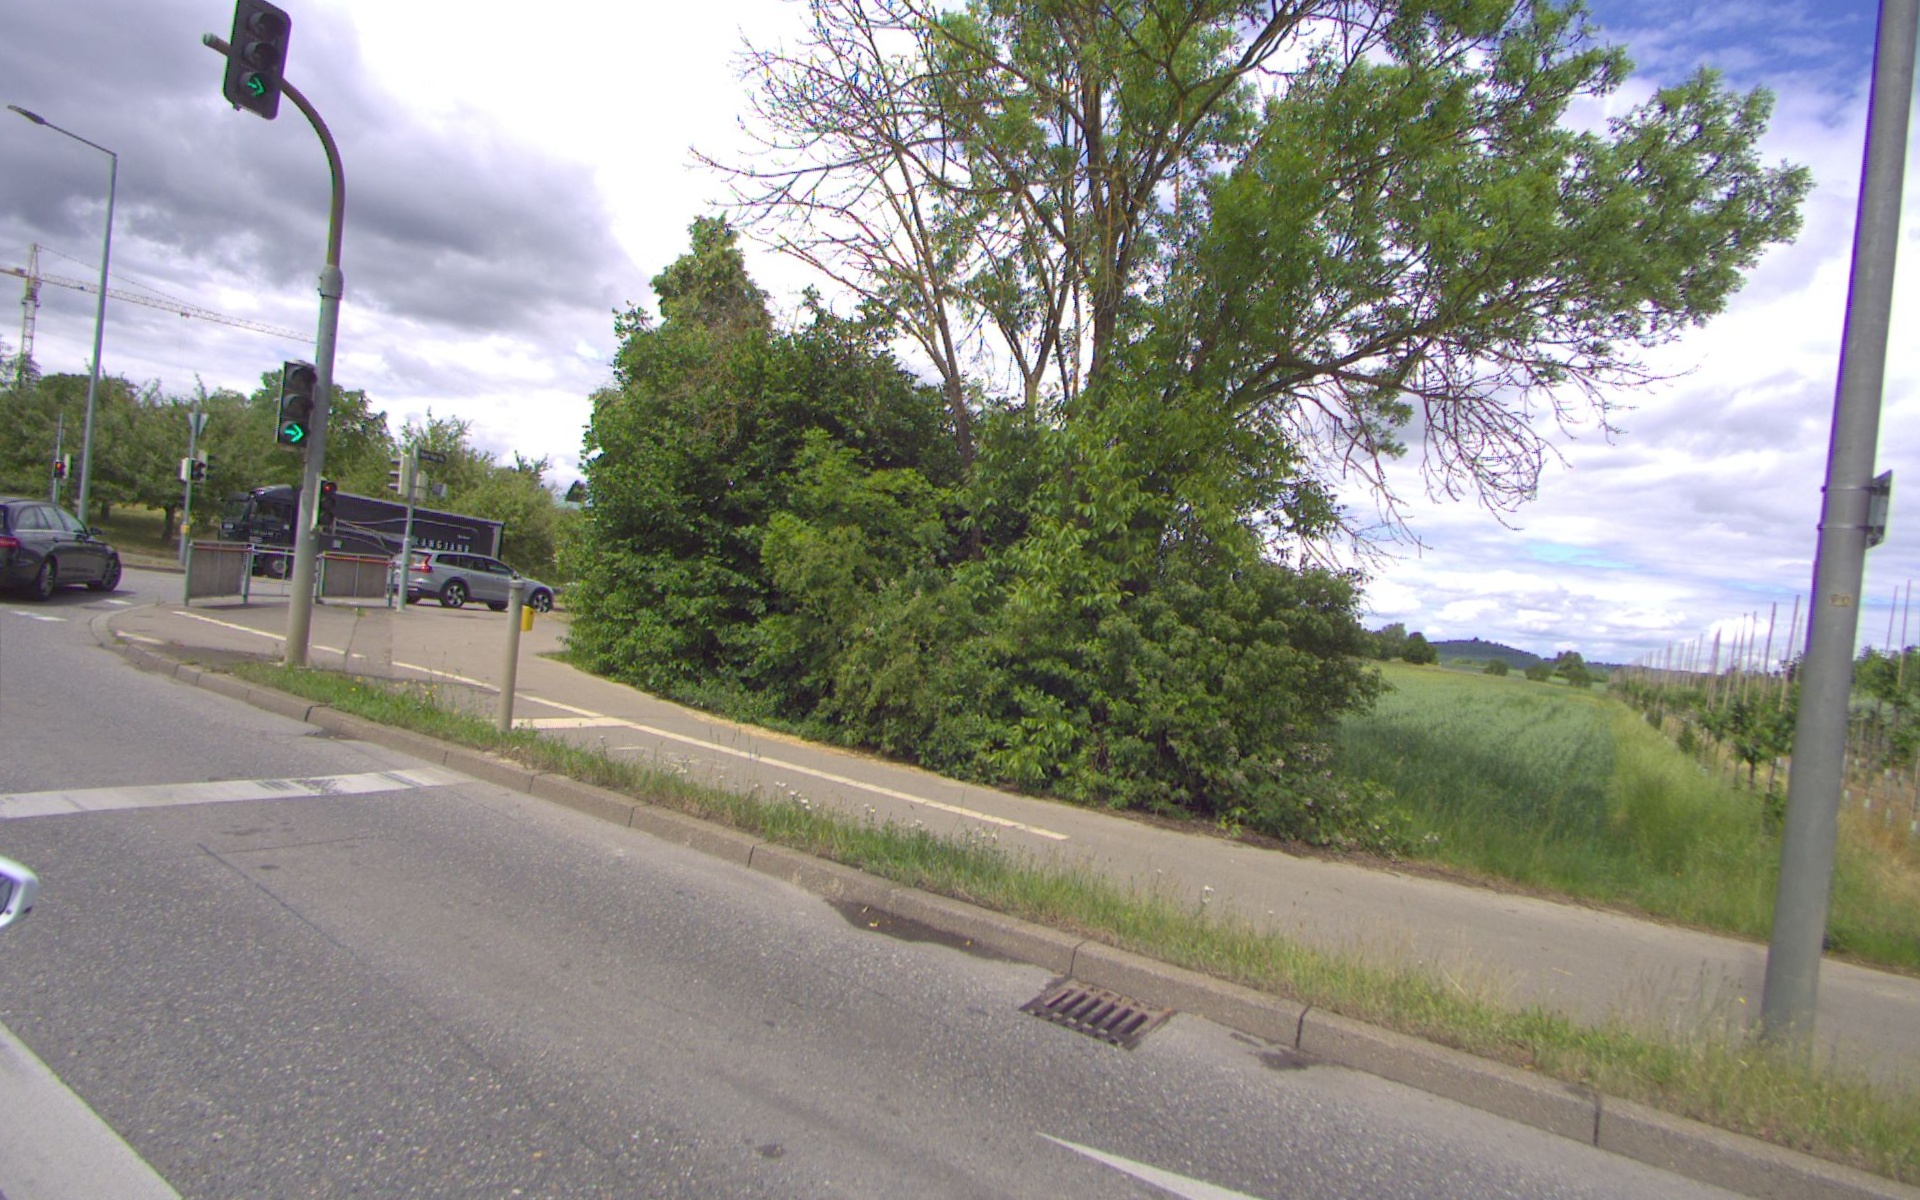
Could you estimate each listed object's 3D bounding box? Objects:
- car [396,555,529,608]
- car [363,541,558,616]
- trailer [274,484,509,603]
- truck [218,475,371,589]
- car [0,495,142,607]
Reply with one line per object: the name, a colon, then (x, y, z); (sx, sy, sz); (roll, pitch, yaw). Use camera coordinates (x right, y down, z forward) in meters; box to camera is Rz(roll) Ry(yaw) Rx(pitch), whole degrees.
car: (-18.847, -0.671, 38.229); (1.971, 1.437, 3.985); (7, -1, 40)
car: (-13.408, -0.530, 27.295); (1.836, 1.537, 4.440); (7, 0, 27)
trailer: (-22.081, -2.086, 39.565); (1.971, 3.500, 7.582); (7, -1, 39)
truck: (-24.274, -2.446, 36.818); (1.971, 3.511, 3.984); (7, 0, 40)
car: (-14.757, -0.860, 15.658); (1.855, 1.459, 5.166); (6, 0, -25)
